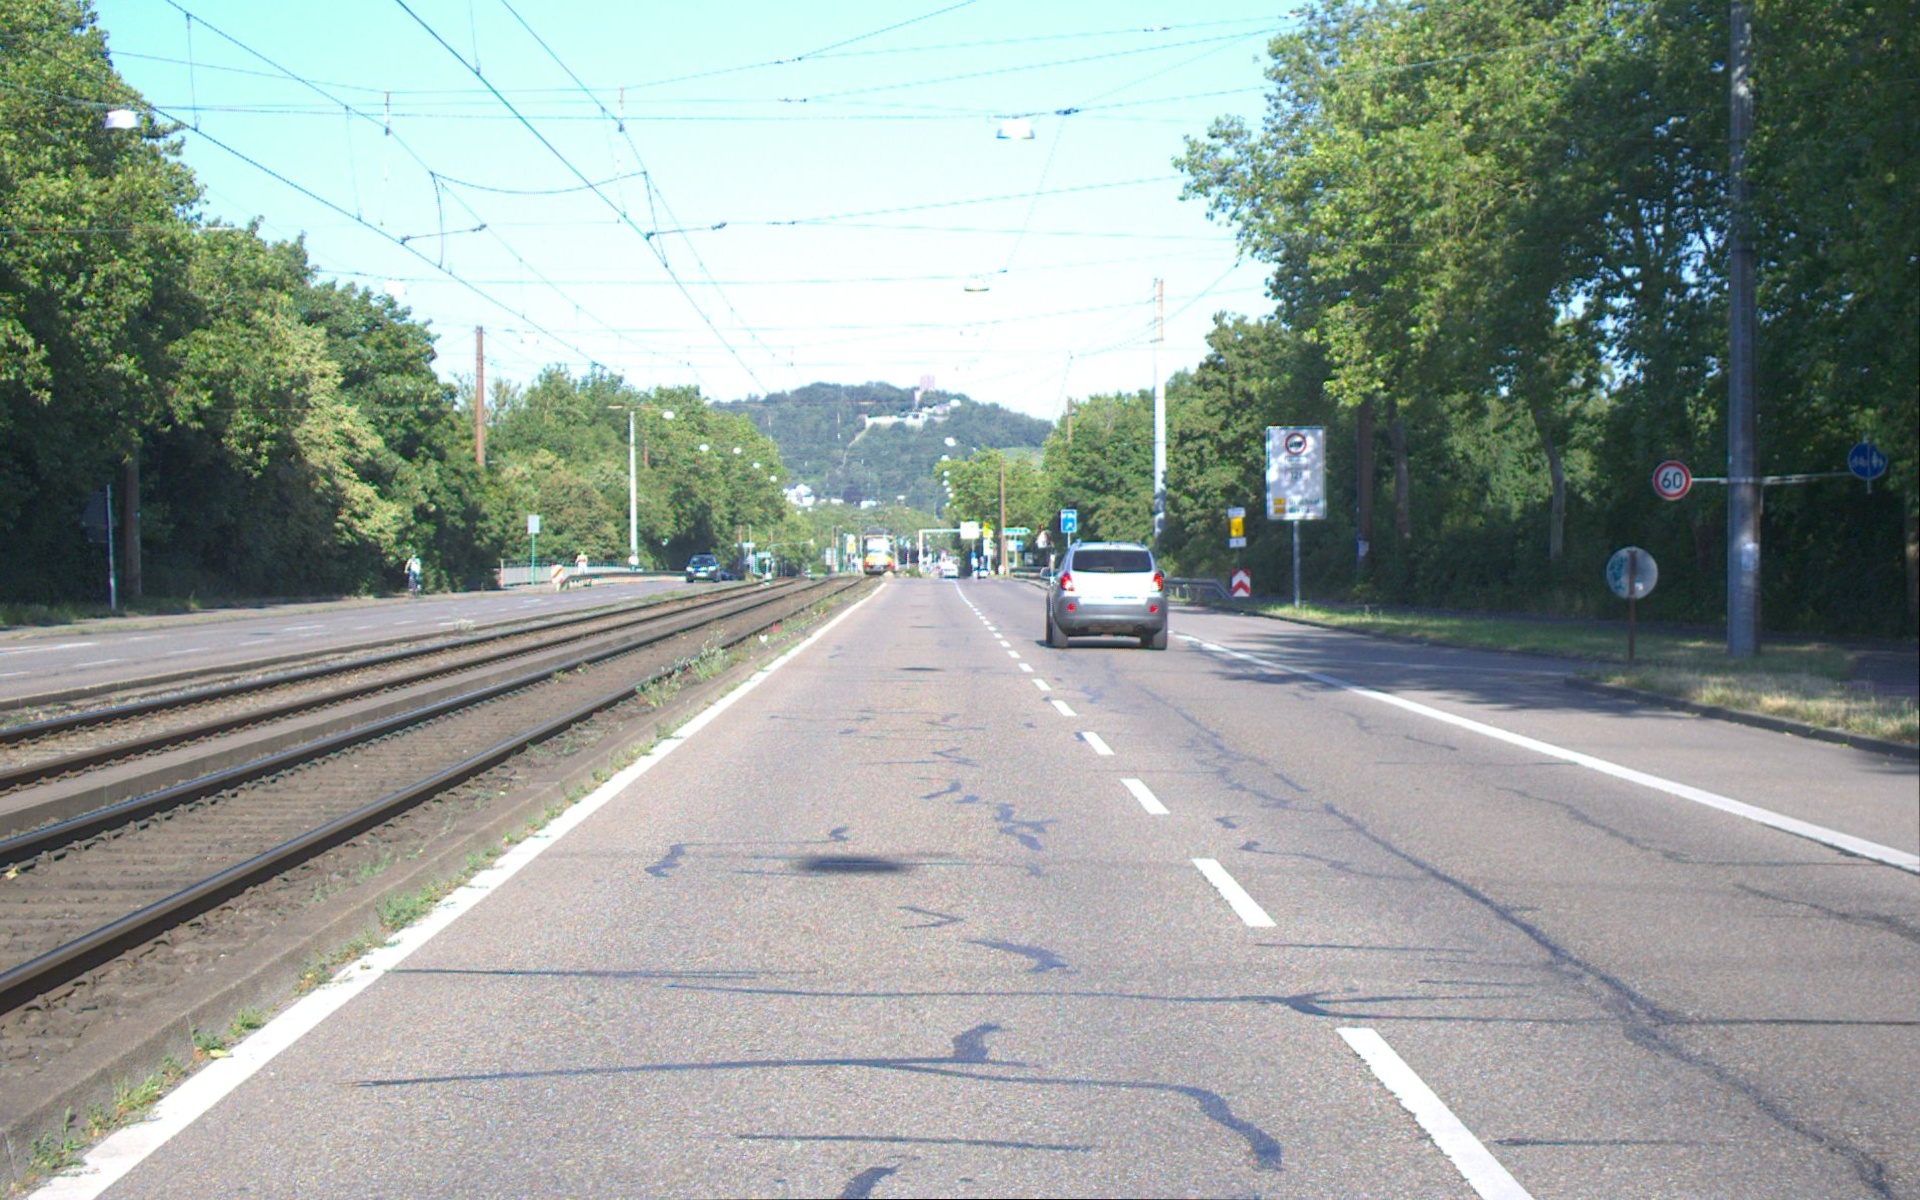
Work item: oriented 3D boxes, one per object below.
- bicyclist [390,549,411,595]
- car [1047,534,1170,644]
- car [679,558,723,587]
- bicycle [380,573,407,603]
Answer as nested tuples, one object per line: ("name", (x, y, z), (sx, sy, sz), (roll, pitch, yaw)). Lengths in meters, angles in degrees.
("bicyclist", (-20.916, -1.043, 128.618), (0.550, 1.685, 0.820), (2, -2, 3))
("car", (2.377, -0.187, 55.671), (1.888, 1.688, 4.256), (1, 0, 2))
("car", (-15.642, -1.645, 207.782), (1.994, 1.680, 4.795), (-1, 0, 3))
("bicycle", (-21.103, -0.444, 128.147), (0.550, 0.983, 2.238), (1, -2, 2))
